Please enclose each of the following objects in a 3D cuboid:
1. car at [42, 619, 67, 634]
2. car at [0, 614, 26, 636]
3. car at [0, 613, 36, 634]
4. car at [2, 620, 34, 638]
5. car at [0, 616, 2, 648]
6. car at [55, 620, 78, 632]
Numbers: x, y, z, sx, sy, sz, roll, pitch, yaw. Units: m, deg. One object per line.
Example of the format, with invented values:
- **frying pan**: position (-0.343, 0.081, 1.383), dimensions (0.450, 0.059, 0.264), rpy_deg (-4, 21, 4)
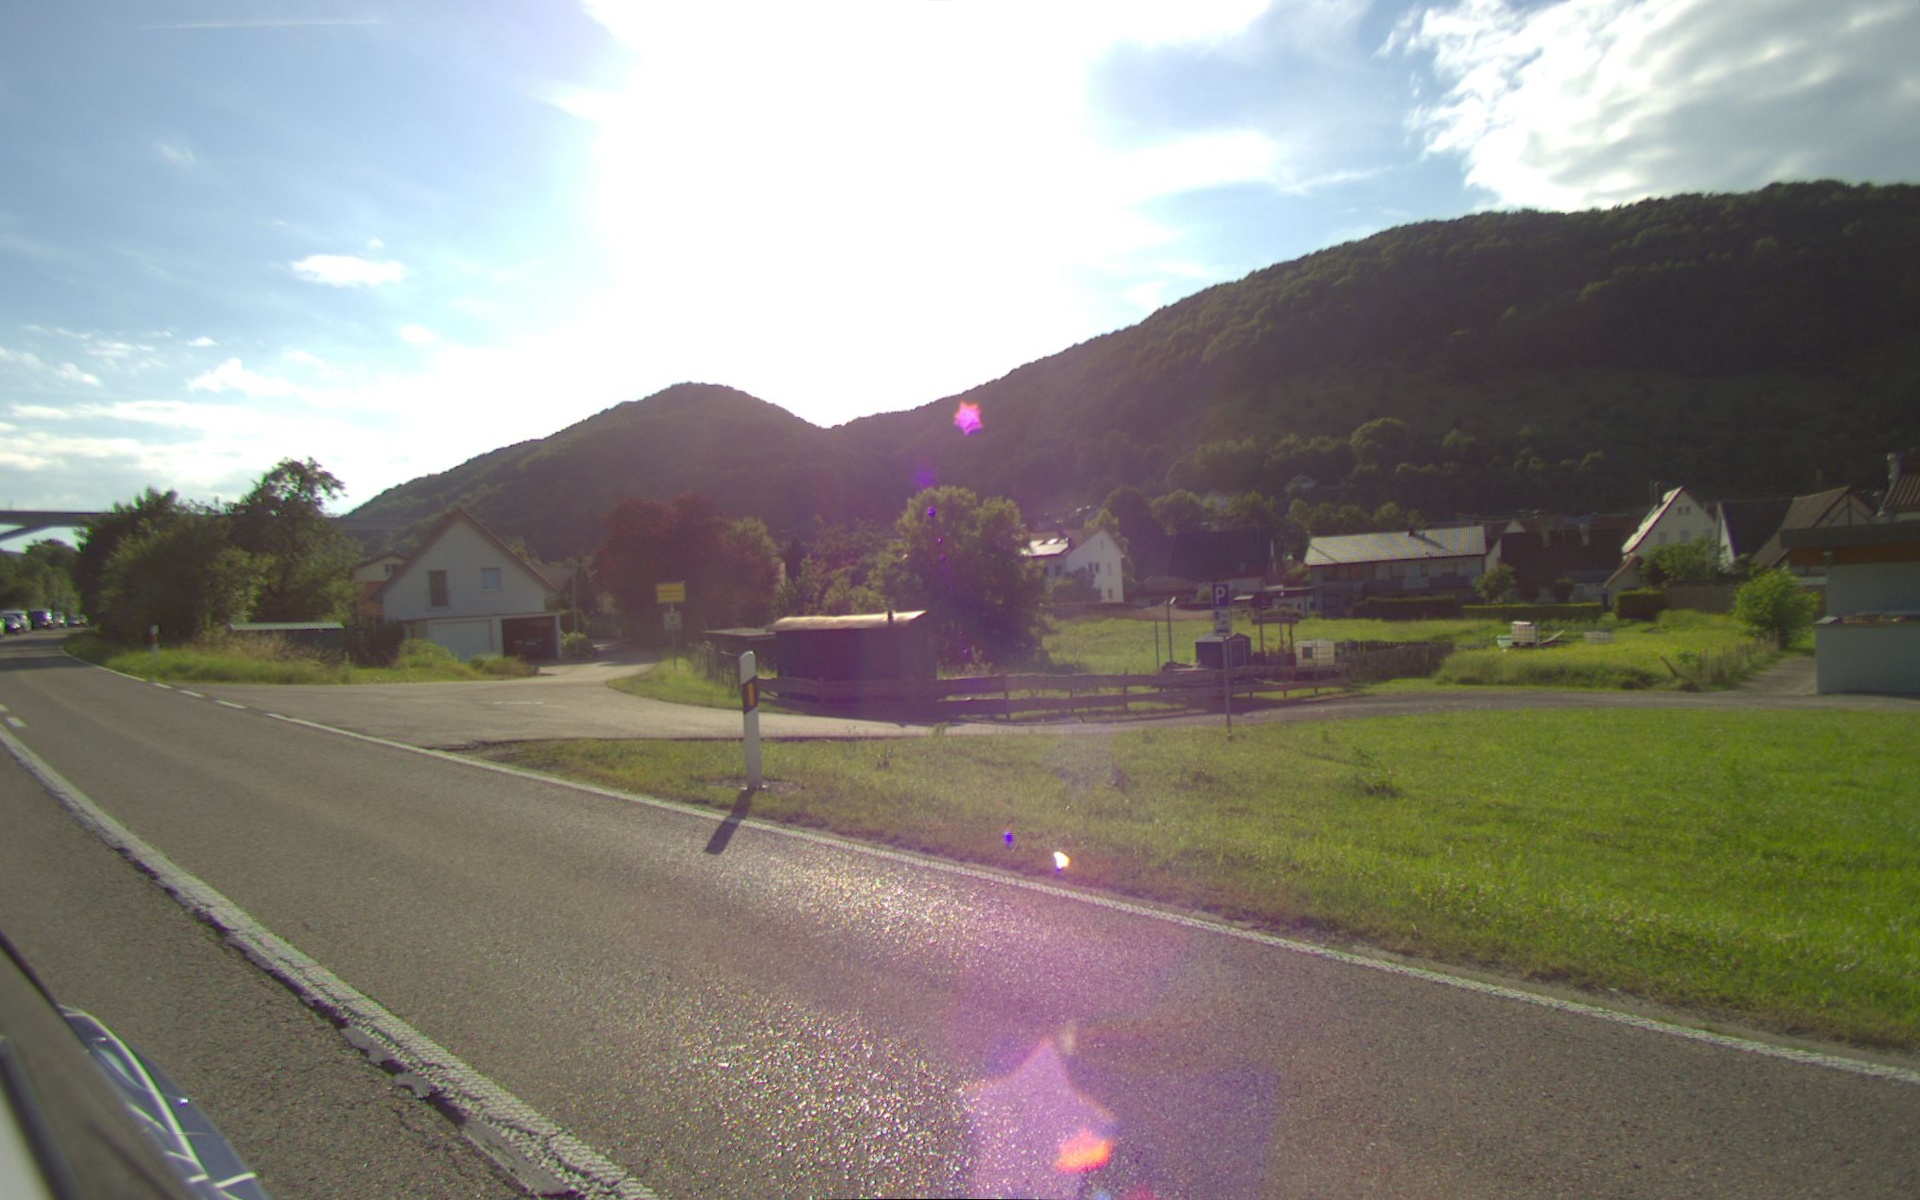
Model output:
- **car**: position (-102.337, 2.993, 114.427), dimensions (1.813, 1.564, 4.186), rpy_deg (2, -2, -38)
- **car**: position (-69.330, 1.823, 73.643), dimensions (1.814, 1.564, 4.184), rpy_deg (2, -2, -40)
- **car**: position (-75.859, 1.878, 81.528), dimensions (1.790, 1.630, 4.008), rpy_deg (1, -1, -38)
- **car**: position (-84.897, 2.603, 91.234), dimensions (1.791, 1.630, 4.008), rpy_deg (2, -2, -39)
- **car**: position (-60.898, 2.003, 62.792), dimensions (1.886, 2.029, 4.006), rpy_deg (2, -2, -41)
- **car**: position (-113.955, 3.296, 129.115), dimensions (1.813, 1.564, 4.186), rpy_deg (2, -2, -37)
